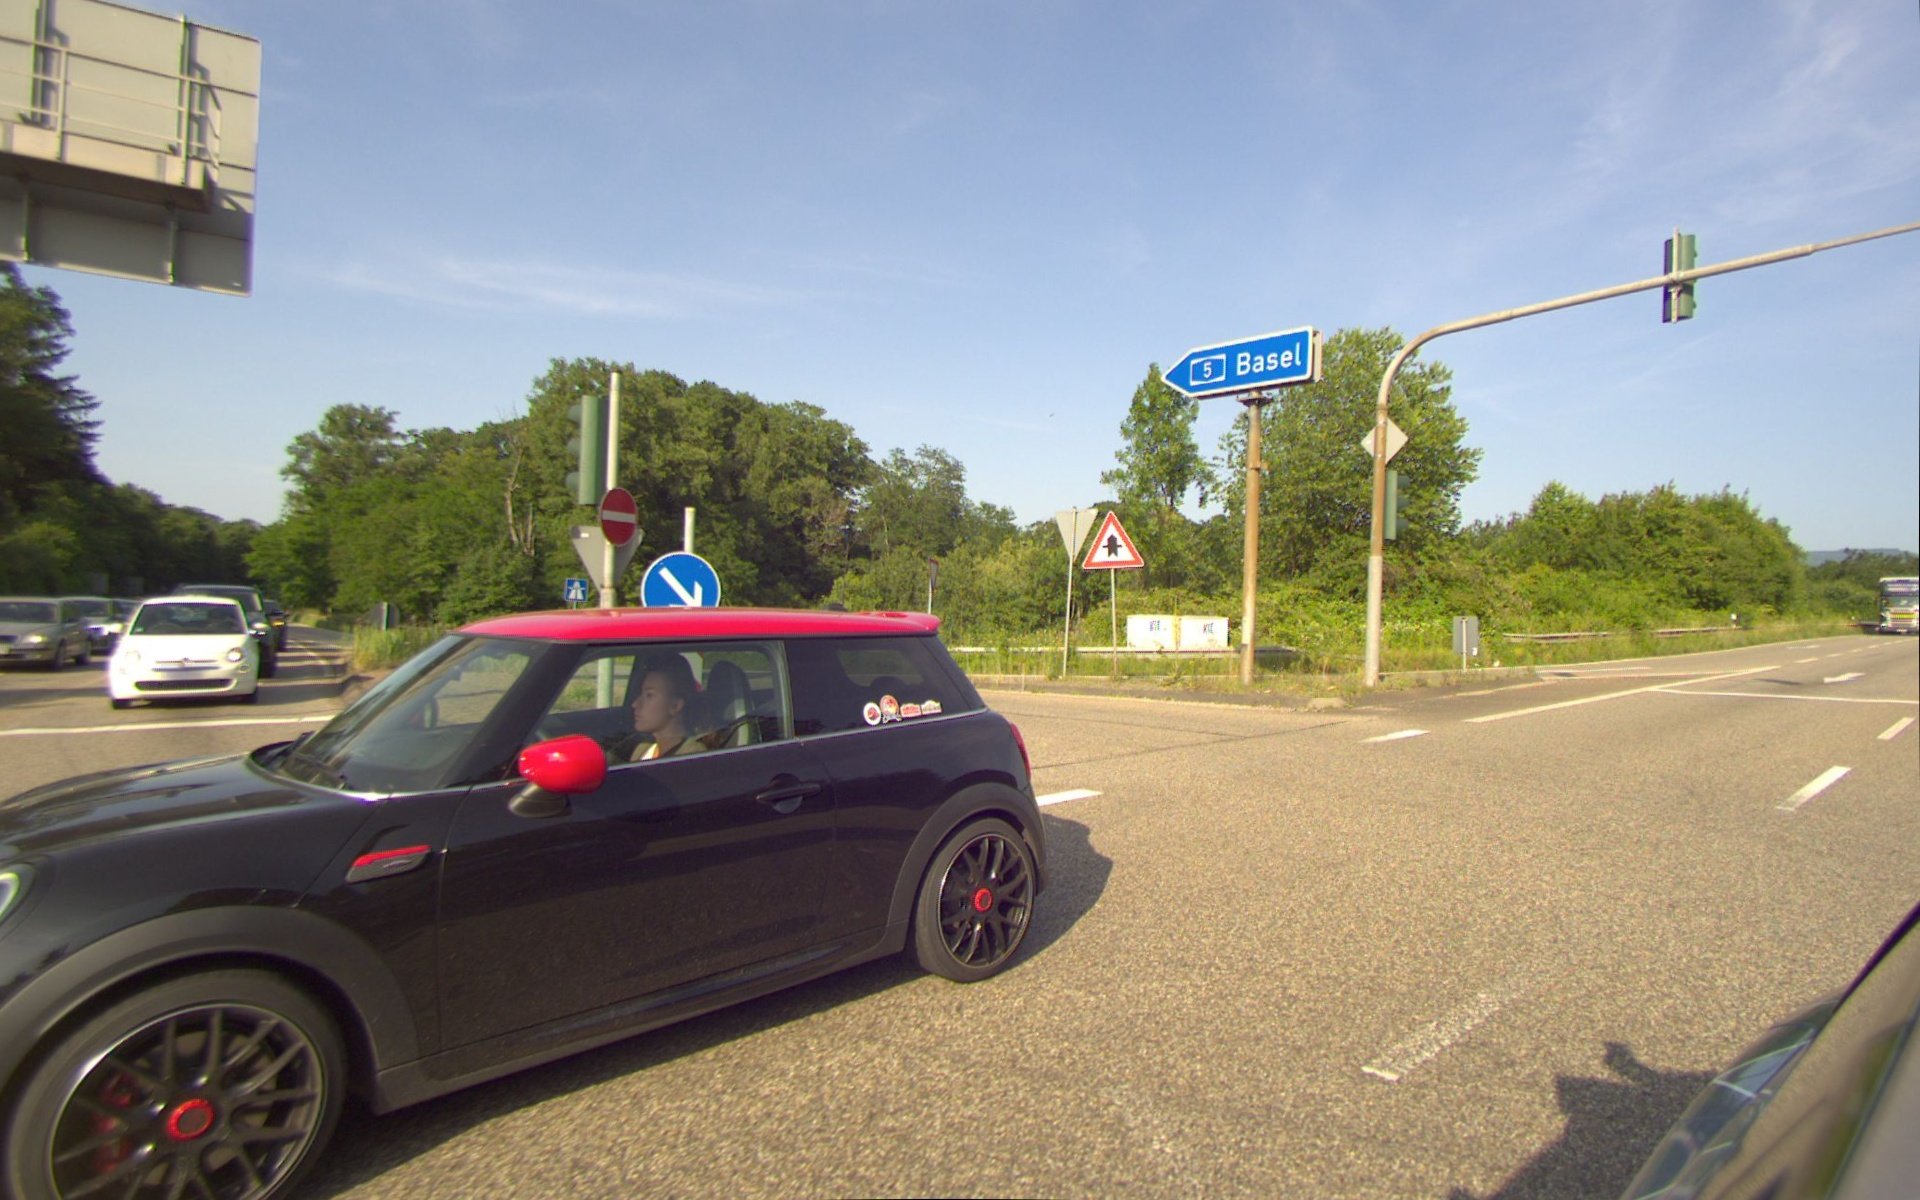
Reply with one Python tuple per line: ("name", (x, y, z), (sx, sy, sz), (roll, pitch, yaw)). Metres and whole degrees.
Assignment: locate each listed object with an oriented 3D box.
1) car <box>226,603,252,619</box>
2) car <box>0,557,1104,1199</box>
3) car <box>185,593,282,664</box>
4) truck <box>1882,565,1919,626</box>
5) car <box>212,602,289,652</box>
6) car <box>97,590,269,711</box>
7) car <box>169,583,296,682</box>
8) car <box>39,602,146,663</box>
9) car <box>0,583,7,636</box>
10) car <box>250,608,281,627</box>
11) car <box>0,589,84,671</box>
("car", (-69.768, 1.039, 97.891), (1.836, 1.459, 4.118), (1, 0, -39))
("car", (-1.383, 0.668, 3.767), (3.807, 1.486, 1.821), (0, -1, -43))
("car", (-18.326, 0.663, 25.497), (1.835, 1.653, 4.121), (1, -1, -37))
("truck", (69.415, -0.292, 72.905), (14.318, 4.070, 3.192), (0, -1, -43))
("car", (-22.375, 0.812, 31.844), (1.835, 1.459, 4.121), (1, 0, -37))
("car", (-11.230, 0.646, 14.724), (1.775, 1.522, 3.607), (1, -1, -37))
("car", (-14.304, 0.577, 19.872), (1.835, 1.730, 4.121), (1, -1, -37))
("car", (-22.562, 0.786, 26.454), (1.835, 1.459, 4.121), (1, 0, -37))
("car", (-37.382, 0.373, 38.295), (1.565, 2.039, 3.996), (0, -1, -38))
("car", (-55.009, 1.344, 80.183), (1.835, 1.459, 4.121), (1, 0, -37))
("car", (-19.104, 0.557, 20.446), (1.835, 1.515, 4.121), (1, 0, -37))
